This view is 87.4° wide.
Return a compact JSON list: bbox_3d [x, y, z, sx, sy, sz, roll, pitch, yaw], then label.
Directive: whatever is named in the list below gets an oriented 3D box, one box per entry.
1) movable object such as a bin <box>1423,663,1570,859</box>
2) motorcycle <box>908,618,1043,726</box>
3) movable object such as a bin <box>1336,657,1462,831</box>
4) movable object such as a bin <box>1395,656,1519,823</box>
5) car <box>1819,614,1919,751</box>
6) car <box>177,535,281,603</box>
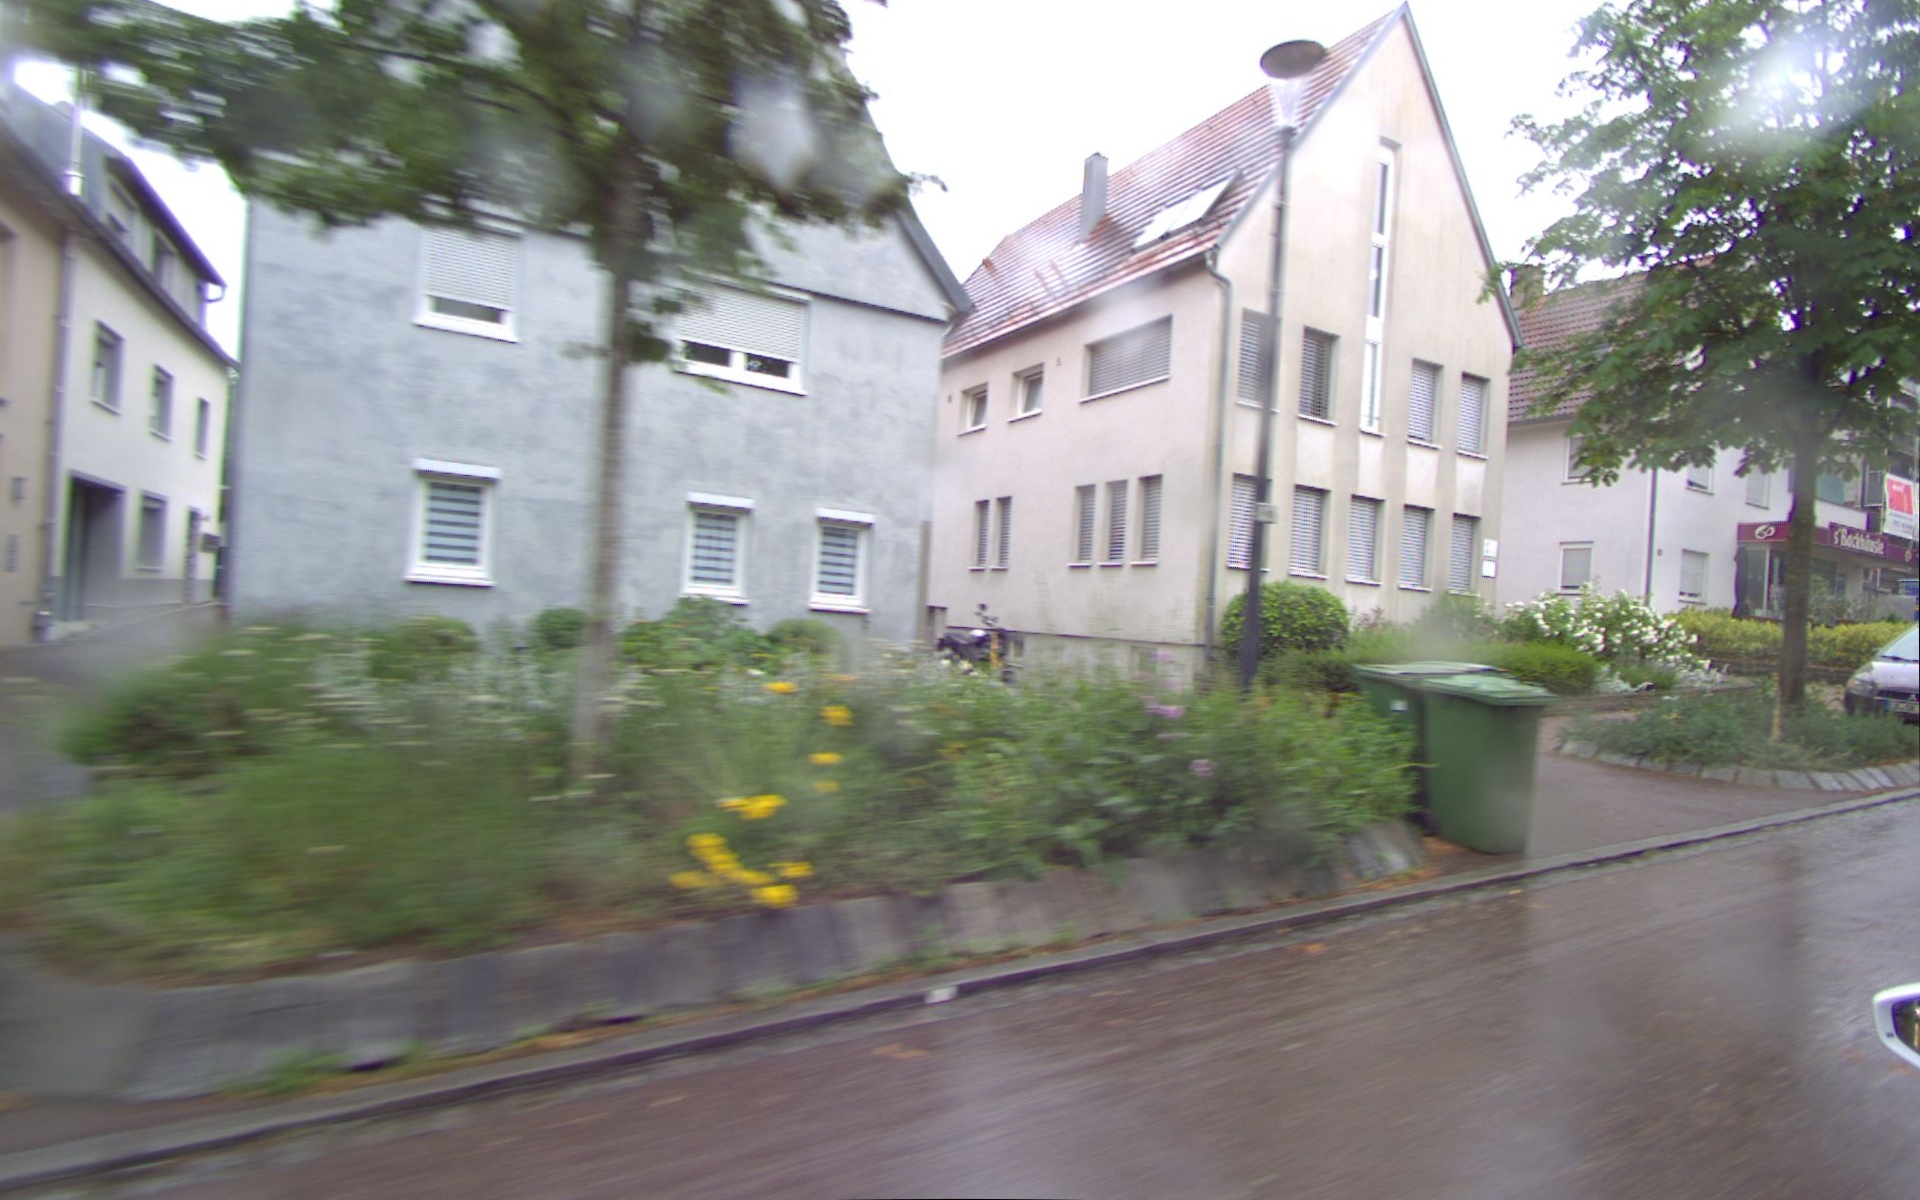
[{"bbox_3d":[3.434,0.995,6.452,0.529,1.126,0.640,0,0,-28],"label":"movable object such as a bin"},{"bbox_3d":[0.154,0.859,12.684,0.808,1.177,1.973,1,0,-29],"label":"motorcycle"},{"bbox_3d":[3.115,0.989,7.147,0.557,1.126,0.608,0,0,-28],"label":"movable object such as a bin"},{"bbox_3d":[3.667,1.002,7.430,0.557,1.126,0.608,0,0,-28],"label":"movable object such as a bin"},{"bbox_3d":[12.824,1.005,12.726,3.817,1.554,1.640,1,2,-28],"label":"car"},{"bbox_3d":[-22.190,-0.947,30.639,1.785,1.882,3.974,2,1,-25],"label":"car"}]
